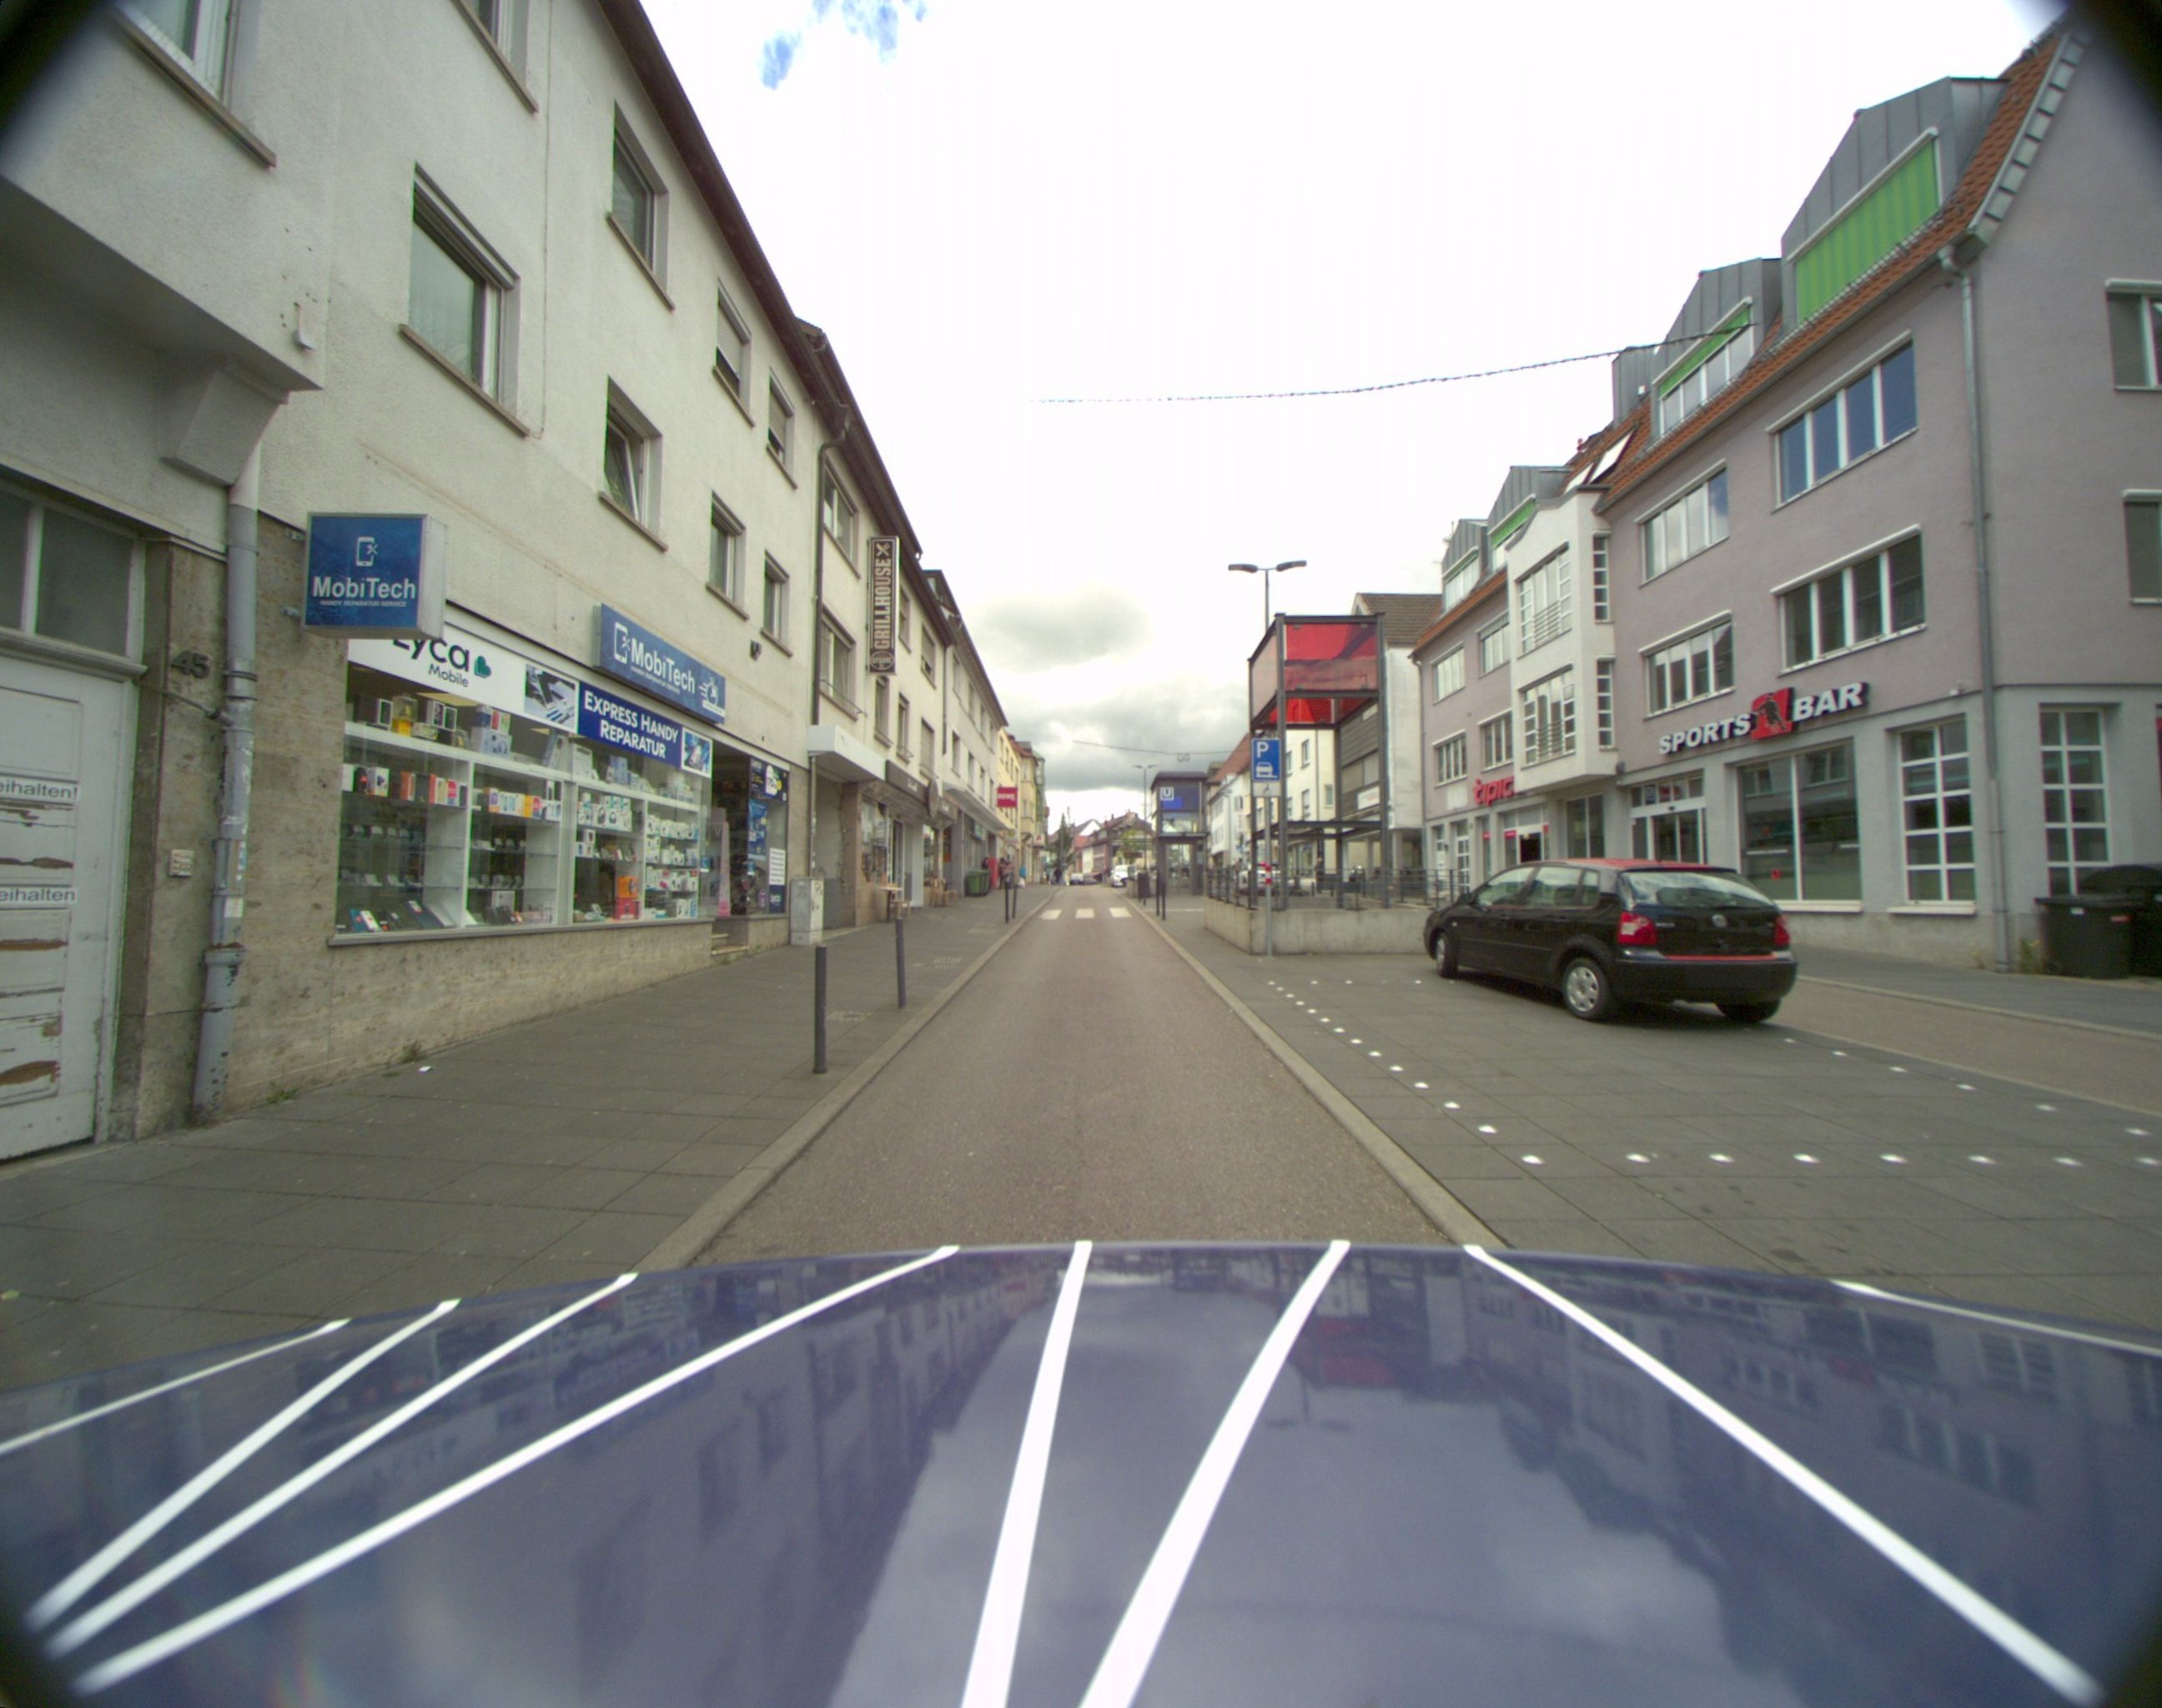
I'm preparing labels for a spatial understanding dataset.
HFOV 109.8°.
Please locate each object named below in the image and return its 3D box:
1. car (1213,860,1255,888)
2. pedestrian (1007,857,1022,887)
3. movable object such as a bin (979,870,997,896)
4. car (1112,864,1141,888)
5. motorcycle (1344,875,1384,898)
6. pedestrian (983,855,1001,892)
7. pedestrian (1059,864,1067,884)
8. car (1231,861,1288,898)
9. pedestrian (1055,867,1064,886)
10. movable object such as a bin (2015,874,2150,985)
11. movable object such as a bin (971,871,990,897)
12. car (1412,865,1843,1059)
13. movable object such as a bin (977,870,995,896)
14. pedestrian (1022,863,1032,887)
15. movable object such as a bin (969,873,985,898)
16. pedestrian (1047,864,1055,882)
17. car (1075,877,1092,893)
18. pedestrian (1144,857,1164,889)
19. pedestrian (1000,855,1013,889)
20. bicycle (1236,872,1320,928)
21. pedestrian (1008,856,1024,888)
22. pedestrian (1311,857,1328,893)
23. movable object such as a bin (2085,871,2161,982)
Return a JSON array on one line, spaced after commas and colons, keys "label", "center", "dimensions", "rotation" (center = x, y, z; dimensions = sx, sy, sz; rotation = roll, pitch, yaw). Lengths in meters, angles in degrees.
[{"label": "car", "center": [9.003, 1.145, 45.077], "dimensions": [1.683, 1.562, 4.122], "rotation": [-1, 0, 0]}, {"label": "pedestrian", "center": [-3.882, 1.067, 44.268], "dimensions": [0.608, 1.716, 0.626], "rotation": [-2, 1, -29]}, {"label": "movable object such as a bin", "center": [-3.981, 1.227, 32.449], "dimensions": [0.652, 1.074, 0.659], "rotation": [1, 0, 1]}, {"label": "car", "center": [3.001, 1.411, 50.325], "dimensions": [1.754, 1.452, 3.601], "rotation": [-1, -1, 1]}, {"label": "motorcycle", "center": [14.716, 1.705, 39.515], "dimensions": [1.854, 1.134, 0.634], "rotation": [-1, 0, 0]}, {"label": "pedestrian", "center": [-4.146, 0.893, 35.399], "dimensions": [0.628, 1.716, 0.606], "rotation": [-2, 1, -22]}, {"label": "pedestrian", "center": [-1.530, 1.725, 65.811], "dimensions": [0.657, 1.620, 0.743], "rotation": [-1, 0, -1]}, {"label": "car", "center": [8.208, 1.130, 35.247], "dimensions": [1.683, 1.562, 4.122], "rotation": [-1, 0, 0]}, {"label": "pedestrian", "center": [-1.945, 2.042, 68.583], "dimensions": [0.657, 1.620, 0.743], "rotation": [-2, 0, -6]}, {"label": "movable object such as a bin", "center": [12.922, 0.944, 9.831], "dimensions": [0.691, 1.368, 0.808], "rotation": [0, 0, 1]}, {"label": "movable object such as a bin", "center": [-4.106, 1.214, 31.052], "dimensions": [0.670, 1.024, 0.560], "rotation": [1, 0, 1]}, {"label": "car", "center": [5.135, 0.870, 7.884], "dimensions": [1.573, 1.466, 3.855], "rotation": [0, 0, -3]}, {"label": "movable object such as a bin", "center": [-3.968, 1.205, 31.734], "dimensions": [0.652, 1.074, 0.673], "rotation": [1, 0, 1]}, {"label": "pedestrian", "center": [-3.800, 1.447, 53.188], "dimensions": [0.627, 1.620, 0.607], "rotation": [-2, 0, -5]}, {"label": "movable object such as a bin", "center": [-4.164, 1.260, 30.440], "dimensions": [0.568, 0.951, 0.498], "rotation": [1, 0, 1]}, {"label": "pedestrian", "center": [-2.745, 1.715, 68.870], "dimensions": [0.657, 1.620, 0.743], "rotation": [-2, 0, -6]}, {"label": "car", "center": [0.230, 3.345, 82.412], "dimensions": [1.741, 1.608, 3.843], "rotation": [-1, 0, 0]}, {"label": "pedestrian", "center": [4.245, 1.094, 44.258], "dimensions": [1.097, 1.831, 0.932], "rotation": [-1, 0, 1]}, {"label": "pedestrian", "center": [-3.865, 0.917, 39.458], "dimensions": [0.627, 1.715, 0.607], "rotation": [2, 0, -5]}, {"label": "bicycle", "center": [4.440, 1.037, 17.182], "dimensions": [1.782, 1.216, 0.460], "rotation": [1, 0, 0]}, {"label": "pedestrian", "center": [-3.702, 1.012, 43.288], "dimensions": [0.629, 1.811, 0.605], "rotation": [-2, 1, -34]}, {"label": "pedestrian", "center": [11.480, 1.010, 36.568], "dimensions": [0.592, 1.706, 0.513], "rotation": [-1, 0, 1]}, {"label": "movable object such as a bin", "center": [14.017, 0.901, 9.583], "dimensions": [1.286, 1.368, 1.067], "rotation": [0, 0, 0]}]
